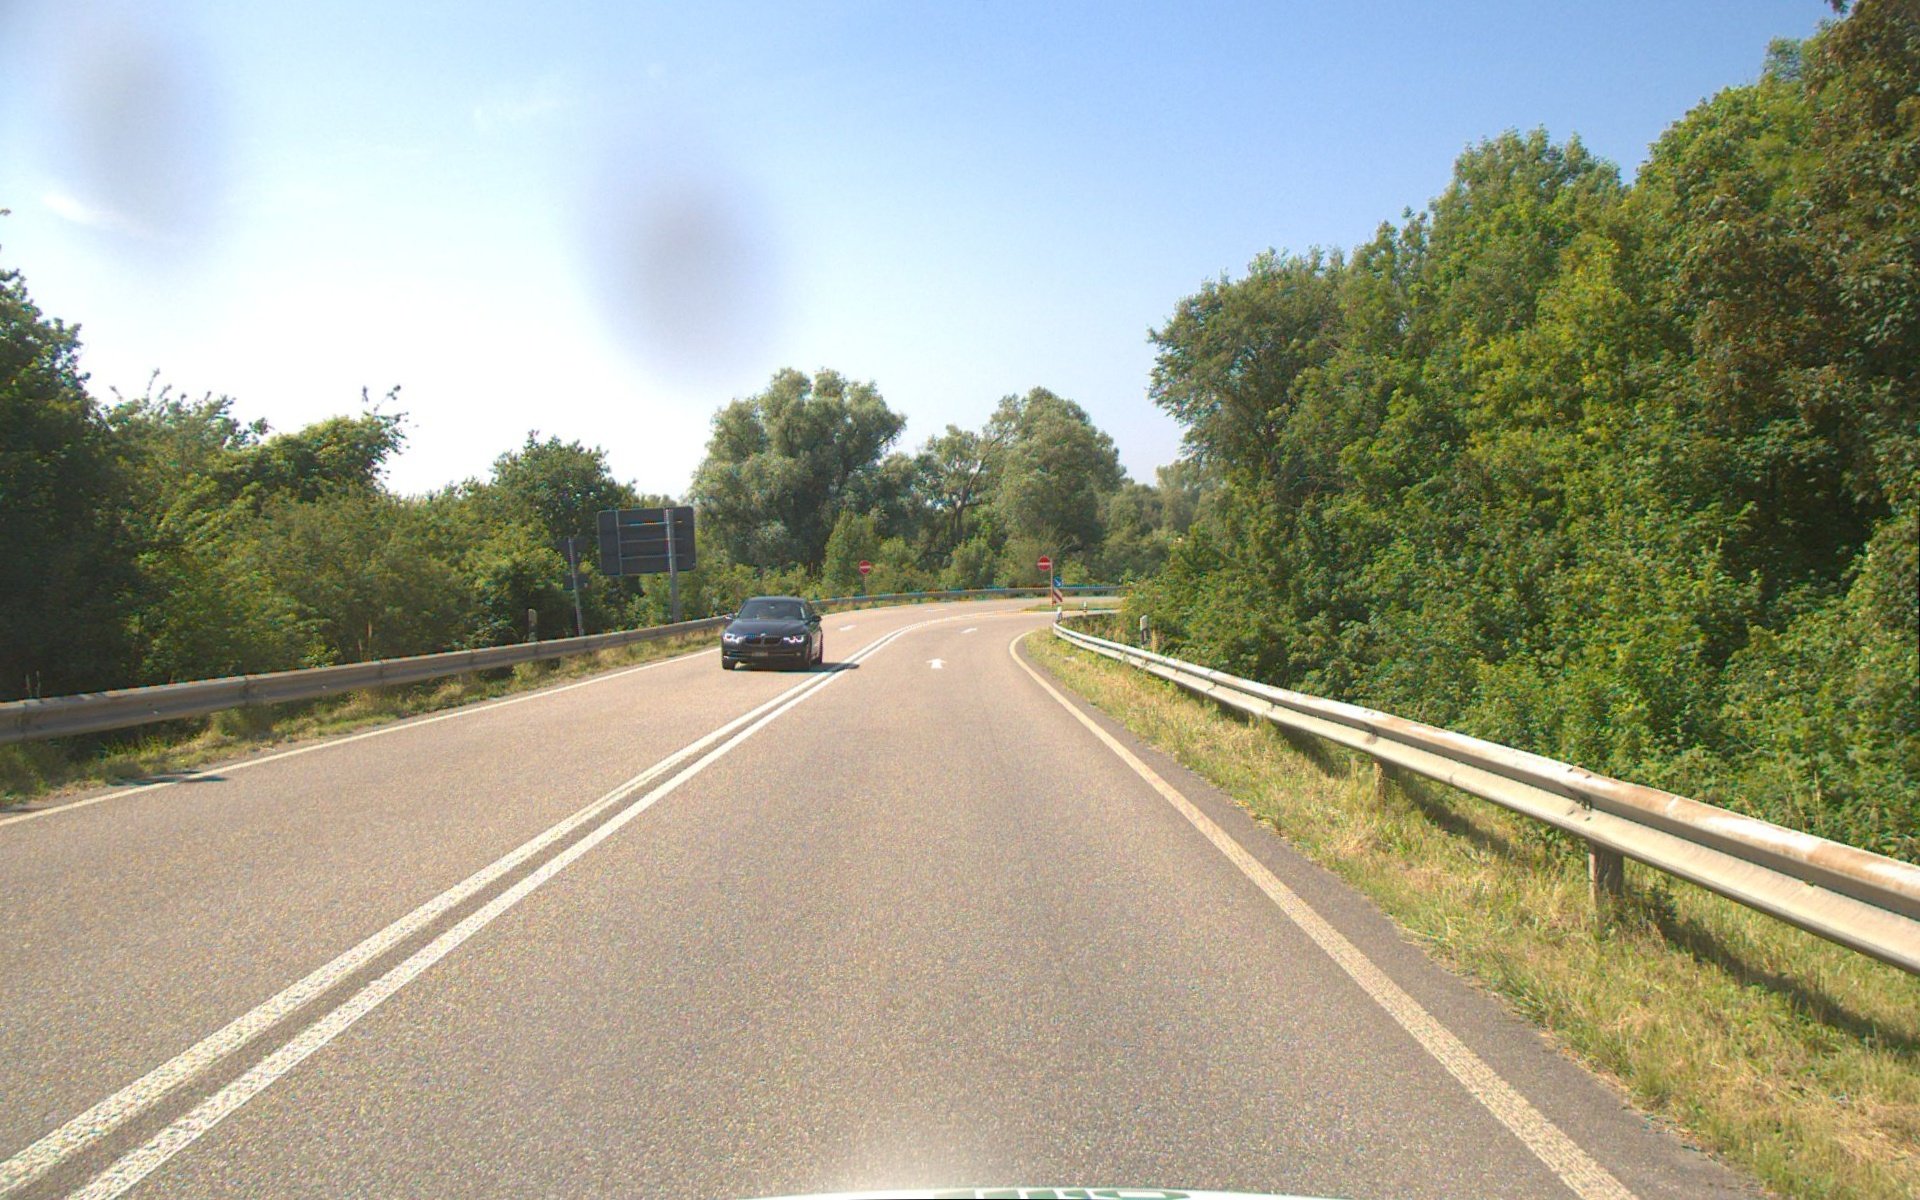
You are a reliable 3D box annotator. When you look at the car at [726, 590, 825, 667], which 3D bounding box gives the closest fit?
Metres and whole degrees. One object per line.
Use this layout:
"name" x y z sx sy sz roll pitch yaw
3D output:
"car" -3.773 0.550 34.409 1.574 1.498 4.220 -1 0 0
